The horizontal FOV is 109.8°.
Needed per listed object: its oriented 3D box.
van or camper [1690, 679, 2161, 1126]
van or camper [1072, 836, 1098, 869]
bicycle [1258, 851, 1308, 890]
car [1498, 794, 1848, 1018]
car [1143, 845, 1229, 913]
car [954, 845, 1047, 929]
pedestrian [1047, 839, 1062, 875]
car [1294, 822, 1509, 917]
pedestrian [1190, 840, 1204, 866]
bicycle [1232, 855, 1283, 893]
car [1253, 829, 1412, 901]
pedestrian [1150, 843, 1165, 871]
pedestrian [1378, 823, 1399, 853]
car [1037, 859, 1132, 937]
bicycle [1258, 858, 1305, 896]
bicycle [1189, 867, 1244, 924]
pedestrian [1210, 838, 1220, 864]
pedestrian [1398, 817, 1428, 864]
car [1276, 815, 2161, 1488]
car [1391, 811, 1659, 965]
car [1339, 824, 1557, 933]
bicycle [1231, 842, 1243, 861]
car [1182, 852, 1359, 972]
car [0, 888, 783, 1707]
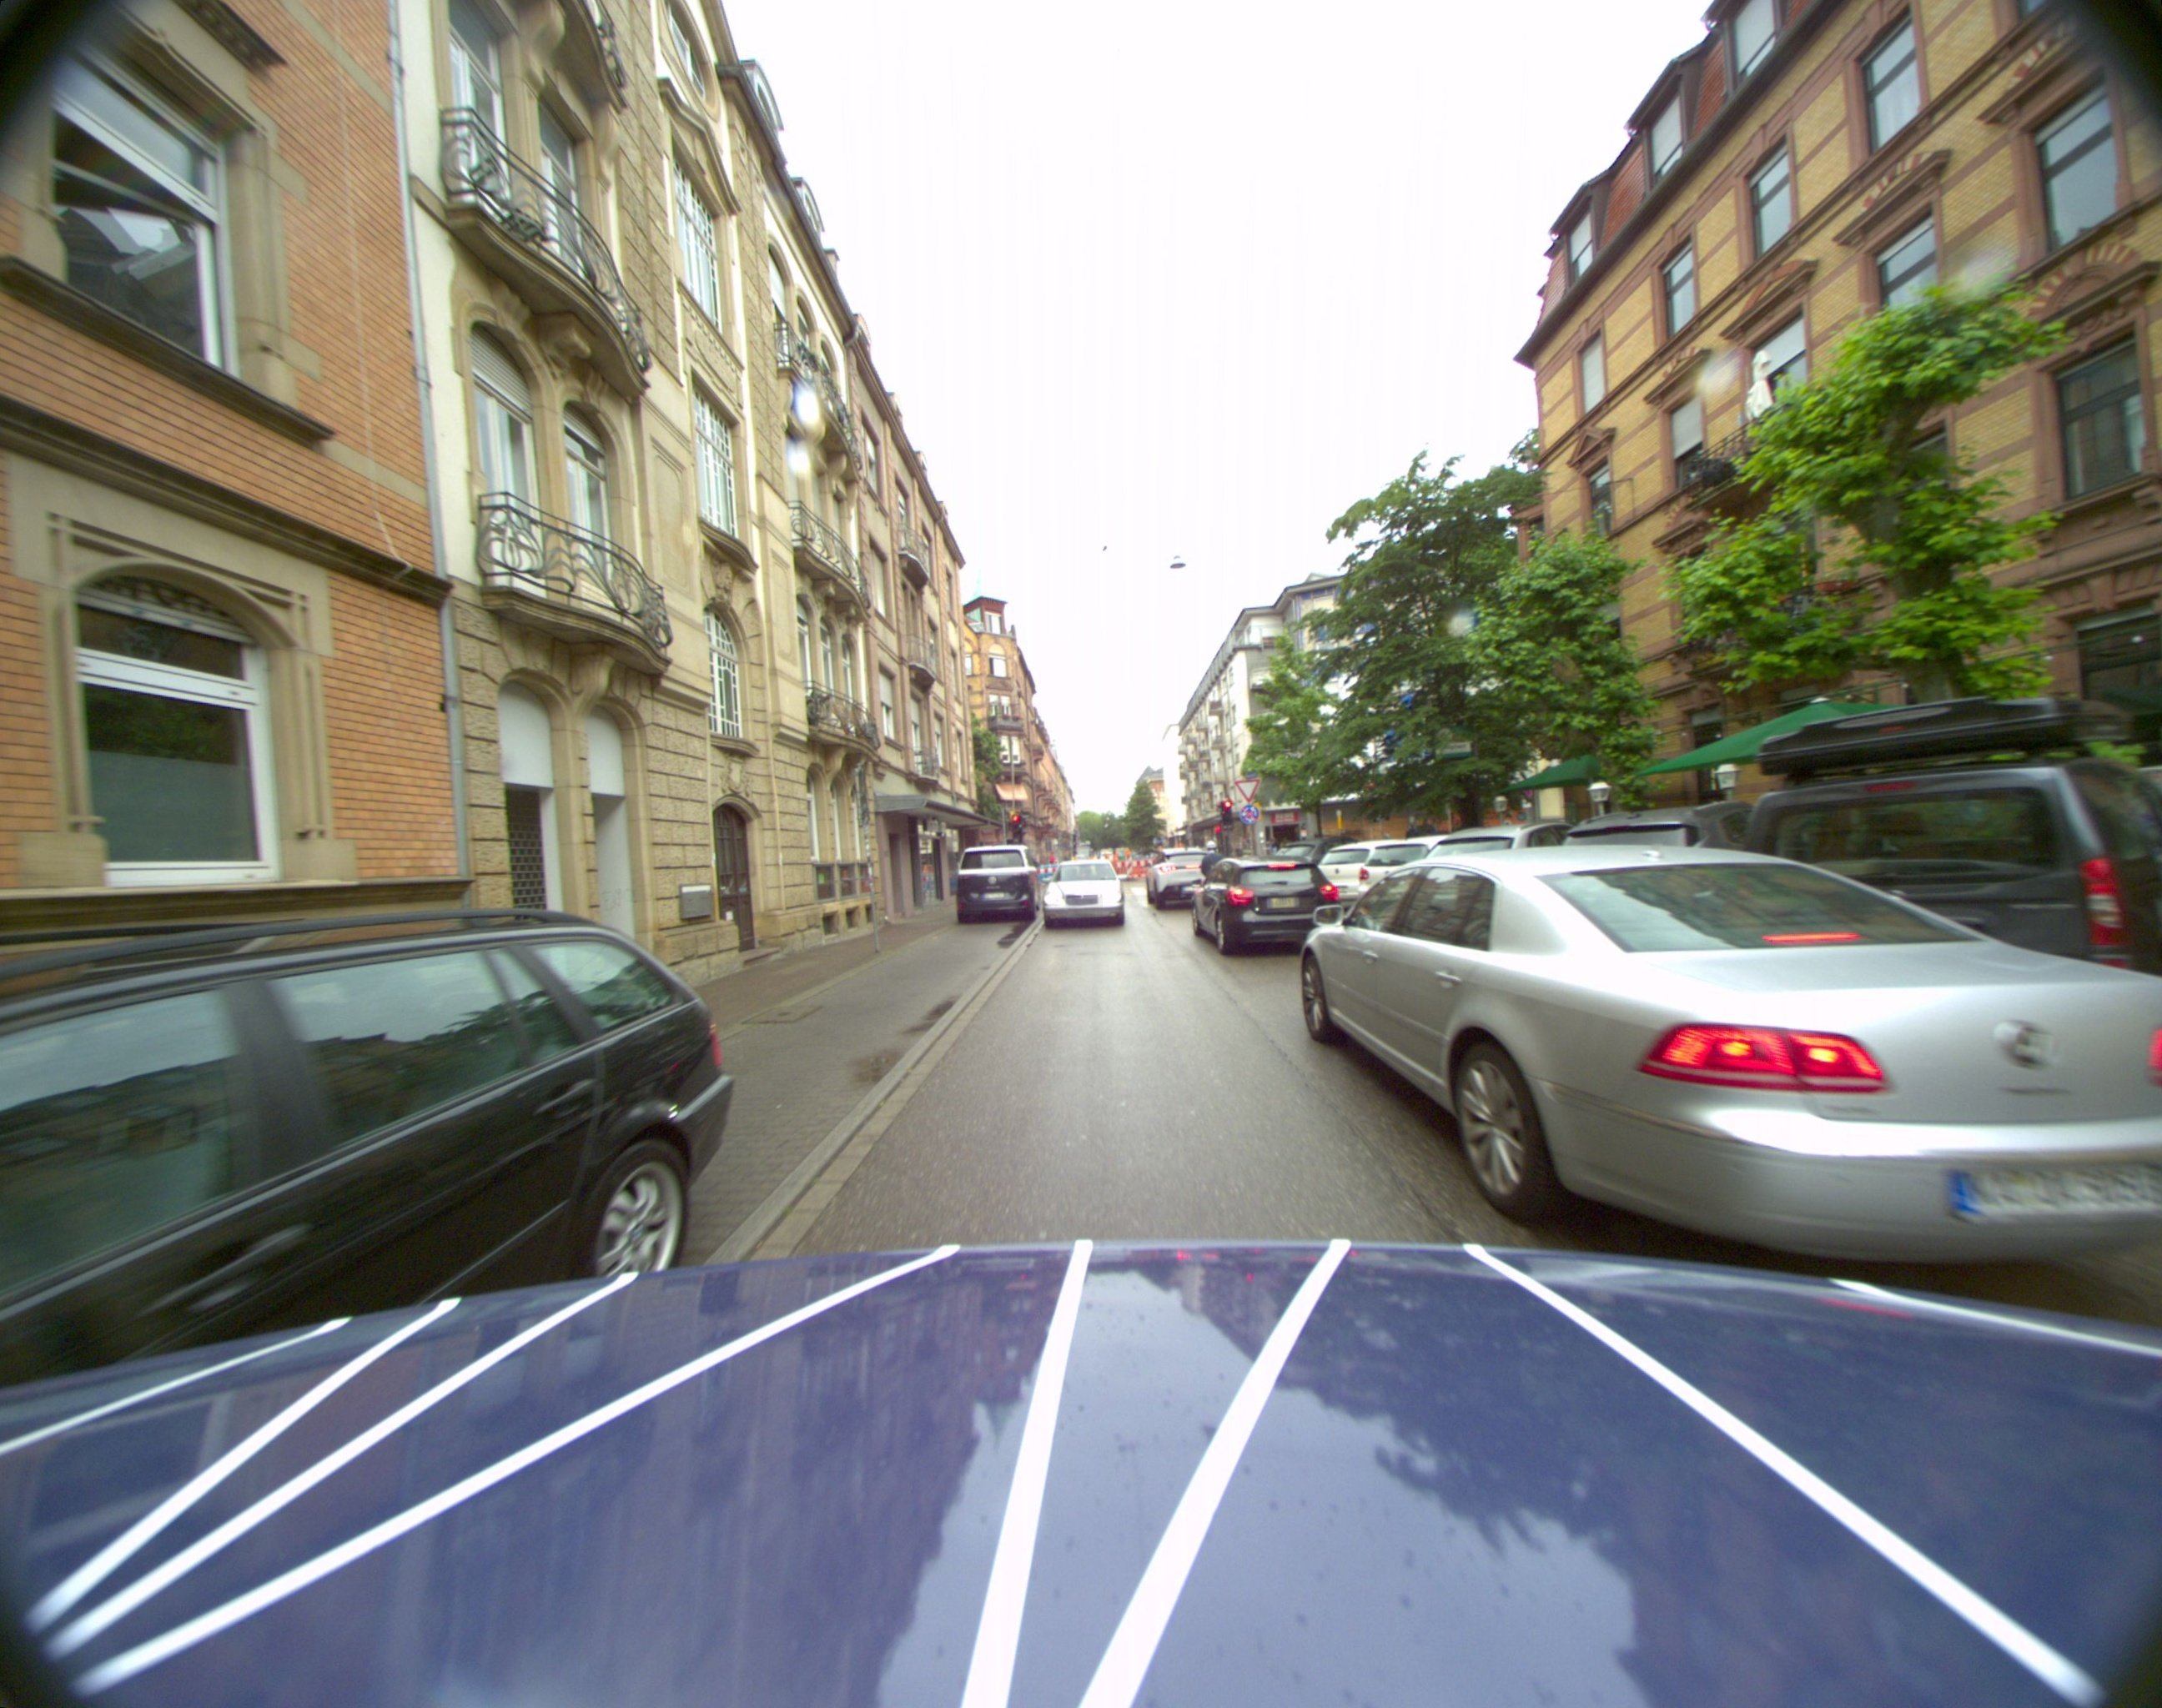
[{"bbox_3d":[6.612,0.061,5.579,4.089,2.227,1.933,-7,3,-31],"label":"van or camper"},{"bbox_3d":[0.431,-0.159,82.841,2.411,3.308,7.073,-4,0,0],"label":"van or camper"},{"bbox_3d":[6.554,0.537,24.721,0.400,1.178,1.874,-5,1,-24],"label":"bicycle"},{"bbox_3d":[6.582,0.376,8.310,4.143,1.653,1.797,-7,3,-35],"label":"car"},{"bbox_3d":[2.882,0.646,21.957,1.863,1.650,5.008,-3,0,2],"label":"car"},{"bbox_3d":[-2.051,0.765,20.855,1.999,1.928,5.229,-2,1,-1],"label":"car"},{"bbox_3d":[-1.947,0.207,55.723,0.696,2.594,0.539,-5,1,-30],"label":"pedestrian"},{"bbox_3d":[7.275,0.315,17.110,4.731,1.554,1.996,-6,0,-32],"label":"car"},{"bbox_3d":[8.541,-0.068,55.730,0.862,1.837,0.770,-4,0,10],"label":"pedestrian"},{"bbox_3d":[5.652,0.631,24.396,0.588,1.137,1.679,-5,1,-27],"label":"bicycle"},{"bbox_3d":[7.294,0.260,21.888,4.464,1.555,1.995,-6,3,-35],"label":"car"},{"bbox_3d":[5.456,0.217,54.420,0.717,1.886,0.606,-4,2,37],"label":"pedestrian"},{"bbox_3d":[17.057,-0.875,42.139,0.797,1.606,0.606,-4,1,37],"label":"pedestrian"},{"bbox_3d":[0.158,0.927,18.137,1.859,1.390,4.980,-4,1,2],"label":"car"},{"bbox_3d":[6.371,0.717,24.228,0.400,1.137,1.679,-5,1,-24],"label":"bicycle"},{"bbox_3d":[3.025,0.901,17.187,0.772,1.173,2.270,-3,-1,0],"label":"bicycle"},{"bbox_3d":[9.625,-0.198,54.498,0.604,1.837,0.770,-4,0,10],"label":"pedestrian"},{"bbox_3d":[14.900,-0.612,34.057,0.942,2.002,0.865,-4,1,37],"label":"pedestrian"},{"bbox_3d":[2.542,0.721,4.060,1.800,1.484,4.584,-4,-1,1],"label":"car"},{"bbox_3d":[6.782,0.397,11.469,4.143,1.652,1.797,-7,2,-35],"label":"car"},{"bbox_3d":[7.058,0.383,14.485,4.143,1.485,1.797,-7,3,-33],"label":"car"},{"bbox_3d":[11.720,-0.194,57.013,0.450,1.365,2.024,-7,0,3],"label":"bicycle"},{"bbox_3d":[2.843,0.782,12.361,1.800,1.485,4.137,-3,1,0],"label":"car"},{"bbox_3d":[-2.413,1.026,1.304,1.791,1.458,4.482,-4,2,2],"label":"car"}]
